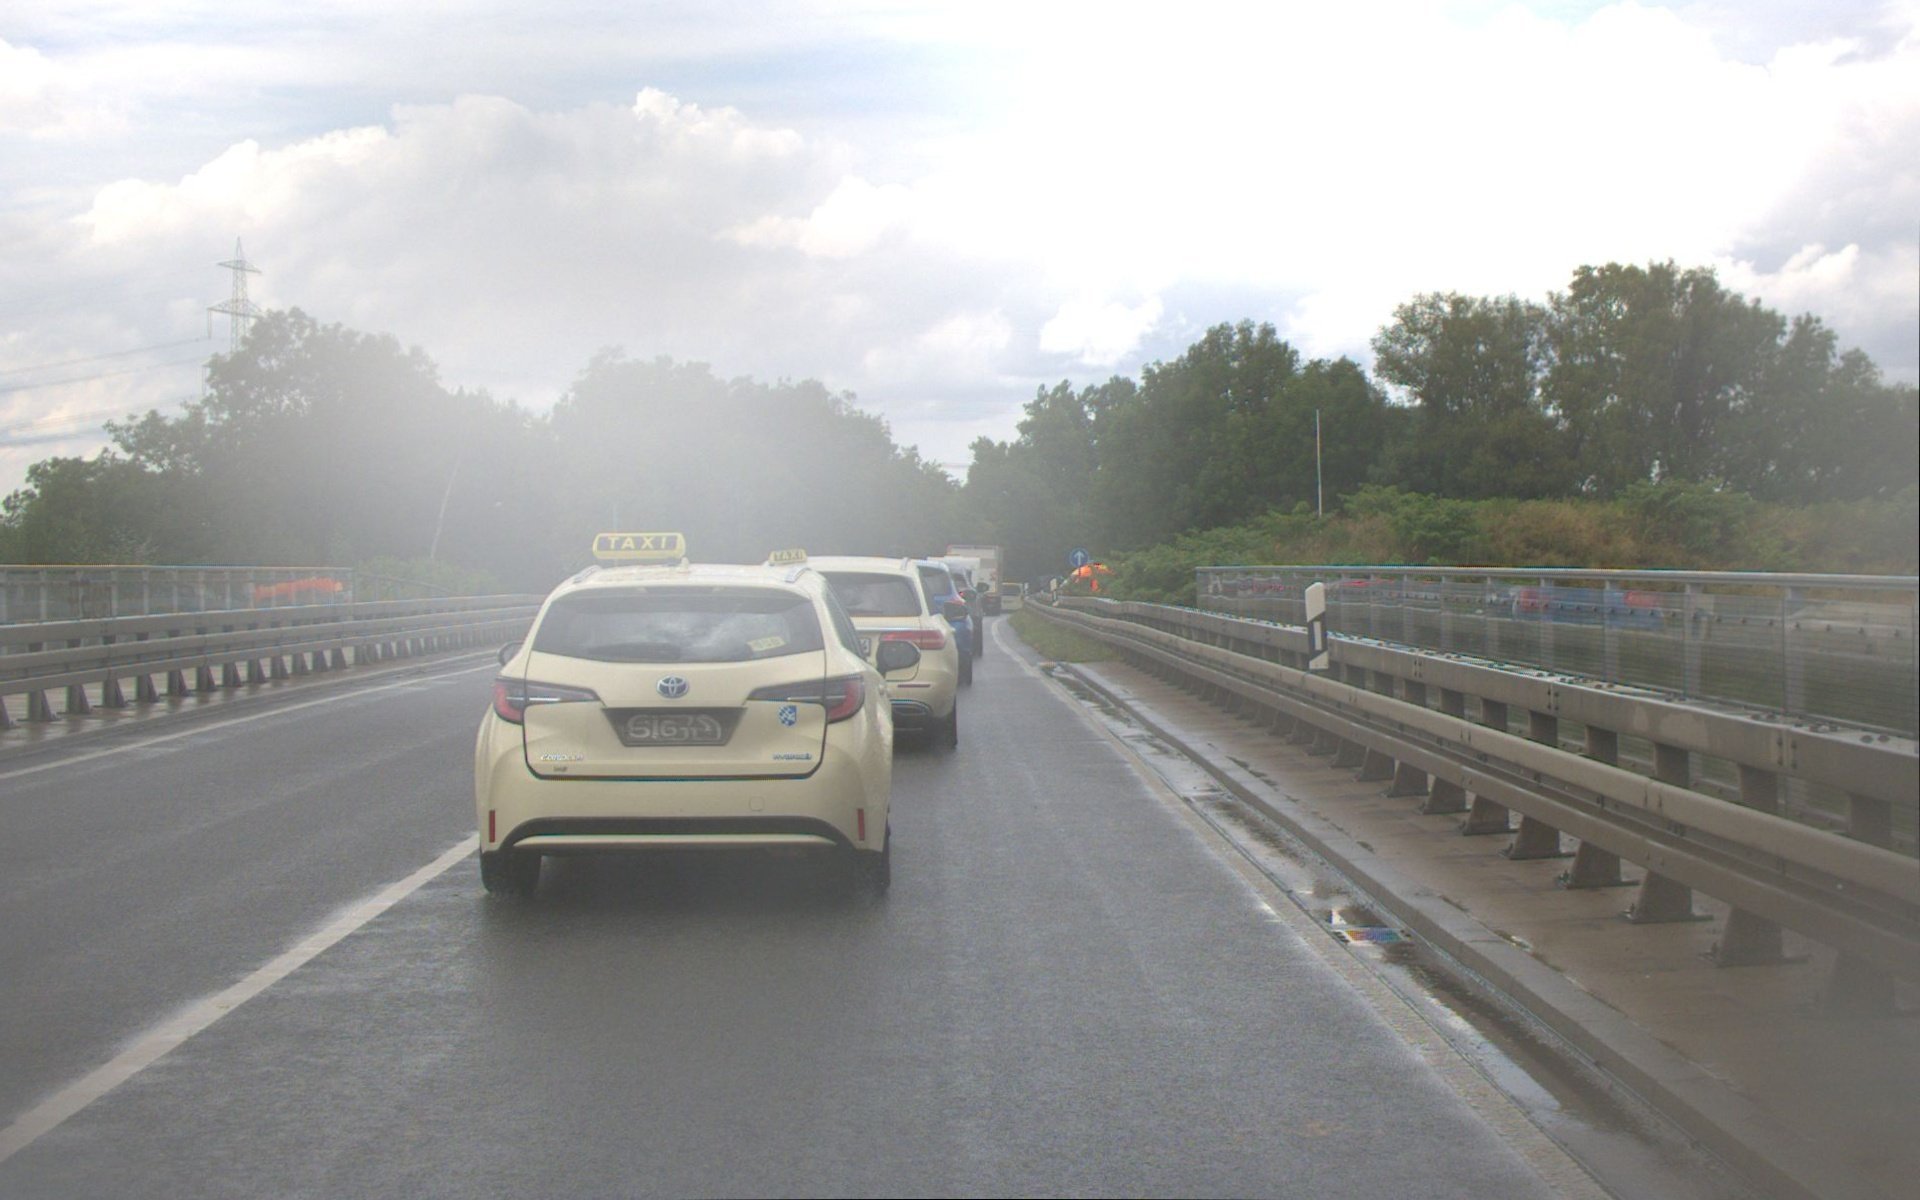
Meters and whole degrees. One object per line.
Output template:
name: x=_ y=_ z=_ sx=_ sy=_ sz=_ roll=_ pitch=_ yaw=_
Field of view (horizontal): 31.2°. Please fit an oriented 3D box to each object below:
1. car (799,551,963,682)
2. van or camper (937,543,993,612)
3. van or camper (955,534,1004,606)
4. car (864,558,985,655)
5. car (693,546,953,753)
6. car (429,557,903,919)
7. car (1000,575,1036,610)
car: x=-0.919 y=0.154 z=41.452 sx=1.854 sy=1.438 sz=4.171 roll=1 pitch=1 yaw=0
van or camper: x=0.196 y=-0.983 z=147.840 sx=2.332 sy=2.854 sz=6.307 roll=1 pitch=1 yaw=0
van or camper: x=0.962 y=-1.553 z=174.563 sx=2.332 sy=3.550 sz=6.307 roll=1 pitch=1 yaw=0
car: x=-0.575 y=0.078 z=55.354 sx=1.854 sy=1.438 sz=4.171 roll=1 pitch=1 yaw=0
car: x=-1.006 y=0.323 z=26.914 sx=1.854 sy=1.438 sz=4.171 roll=1 pitch=1 yaw=0
car: x=-1.219 y=0.530 z=15.915 sx=1.854 sy=1.389 sz=4.171 roll=1 pitch=1 yaw=0
car: x=3.451 y=-0.462 z=205.728 sx=1.993 sy=2.007 sz=4.000 roll=1 pitch=1 yaw=-1
